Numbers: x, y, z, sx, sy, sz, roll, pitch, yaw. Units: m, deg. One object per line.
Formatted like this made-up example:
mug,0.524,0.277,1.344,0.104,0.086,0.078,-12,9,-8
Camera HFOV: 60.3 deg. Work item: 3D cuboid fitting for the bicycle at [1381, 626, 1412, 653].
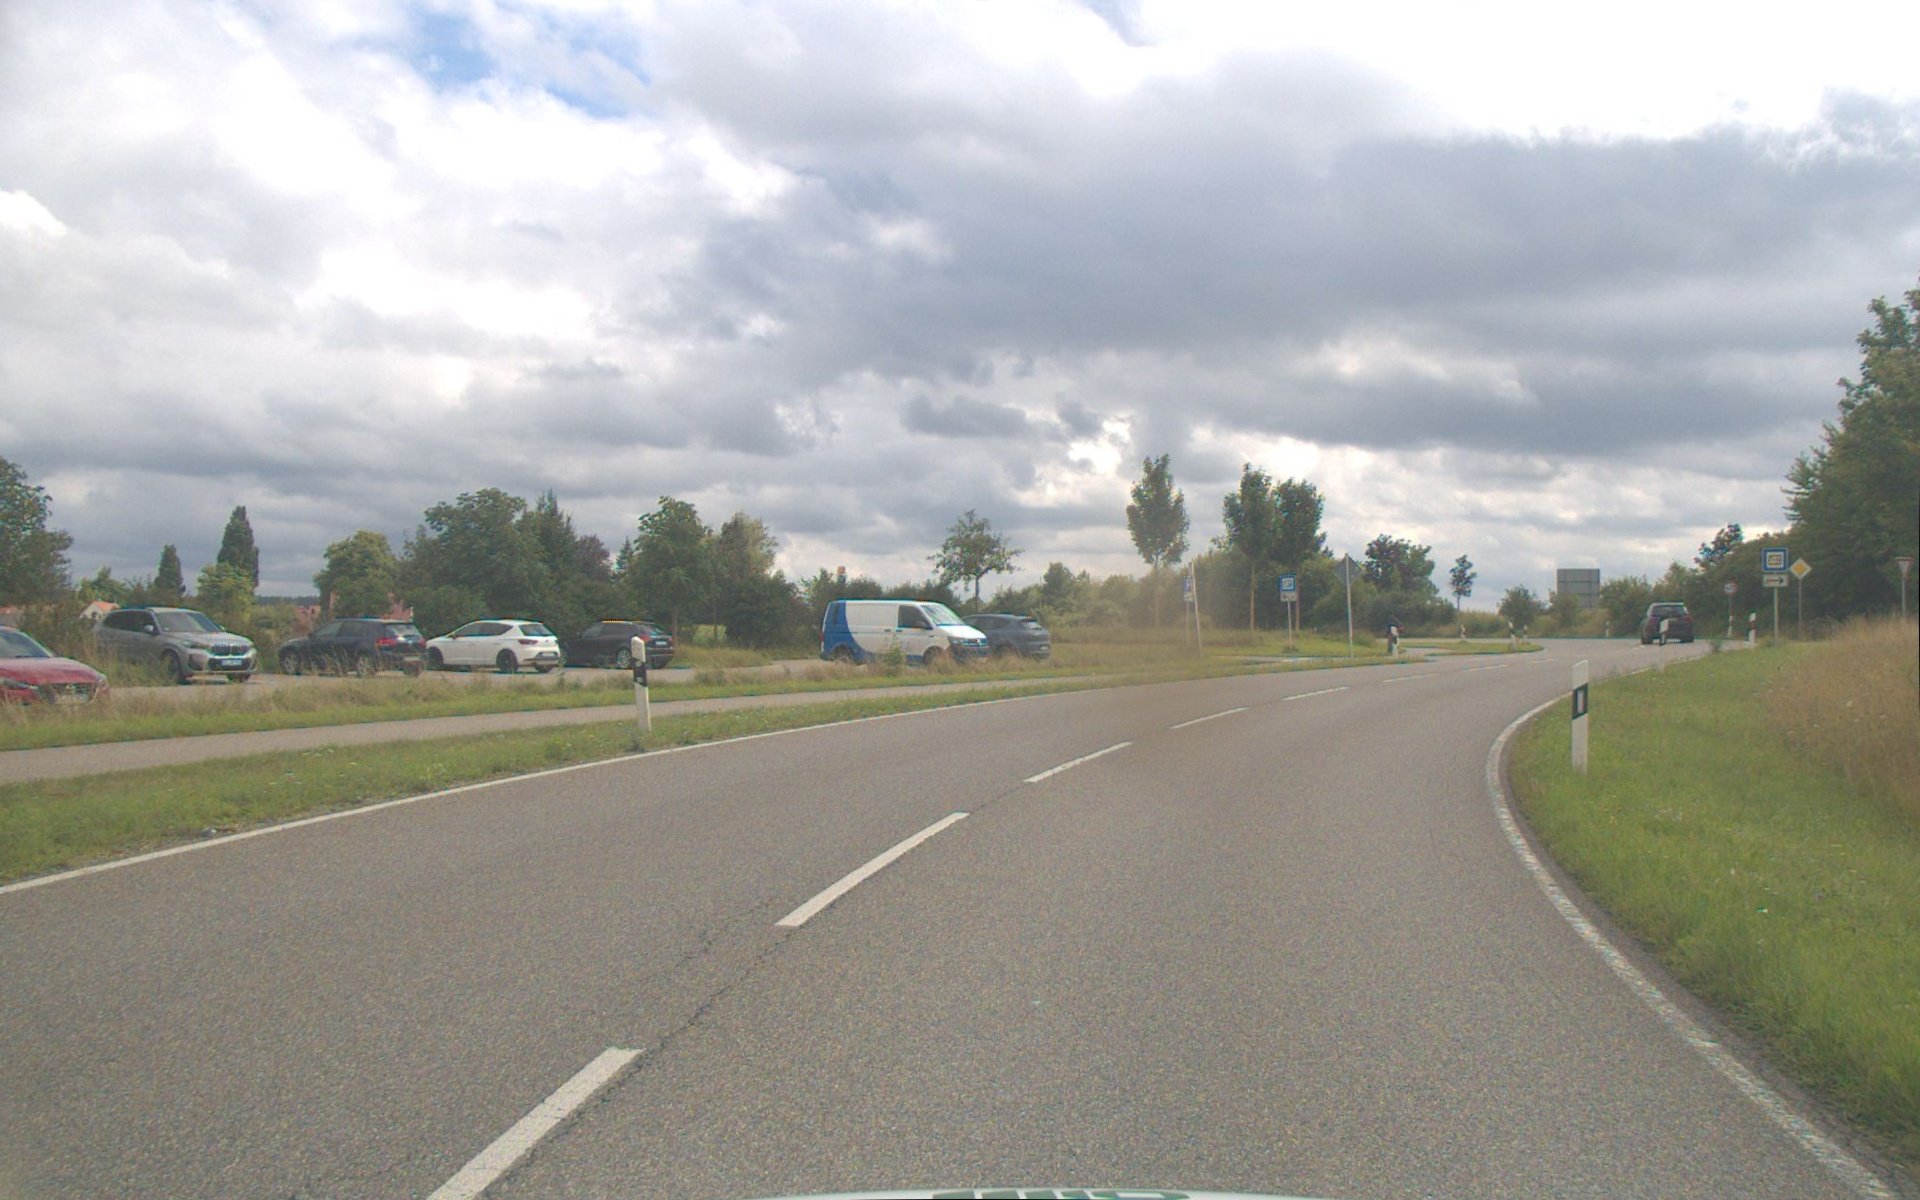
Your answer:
bicycle,18.020,1.620,68.319,0.624,1.050,2.185,-2,-1,31

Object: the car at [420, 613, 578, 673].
car,-12.933,1.175,46.412,3.906,1.579,1.965,0,0,23

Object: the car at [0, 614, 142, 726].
car,-13.591,0.948,23.134,4.282,1.441,1.810,-1,-1,30

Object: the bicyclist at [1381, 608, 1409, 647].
bicyclist,17.985,1.139,68.367,0.816,1.593,1.052,-1,-1,34

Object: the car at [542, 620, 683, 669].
car,-10.626,1.333,50.601,3.906,1.412,1.841,0,0,23

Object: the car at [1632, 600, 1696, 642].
car,29.551,0.860,69.515,1.866,1.695,4.003,1,0,14

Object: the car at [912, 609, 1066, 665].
car,0.851,1.114,49.509,4.168,1.623,1.996,-1,-1,30

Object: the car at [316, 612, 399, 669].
car,-17.606,1.163,48.274,1.751,1.553,3.758,0,-1,-29

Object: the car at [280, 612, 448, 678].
car,-15.137,1.102,41.995,3.913,1.579,1.962,0,0,30

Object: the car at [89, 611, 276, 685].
car,-17.535,1.057,37.297,3.913,1.579,1.962,-1,-1,30

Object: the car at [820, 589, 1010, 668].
car,-1.241,0.804,45.120,4.801,2.049,2.053,-1,-1,29
